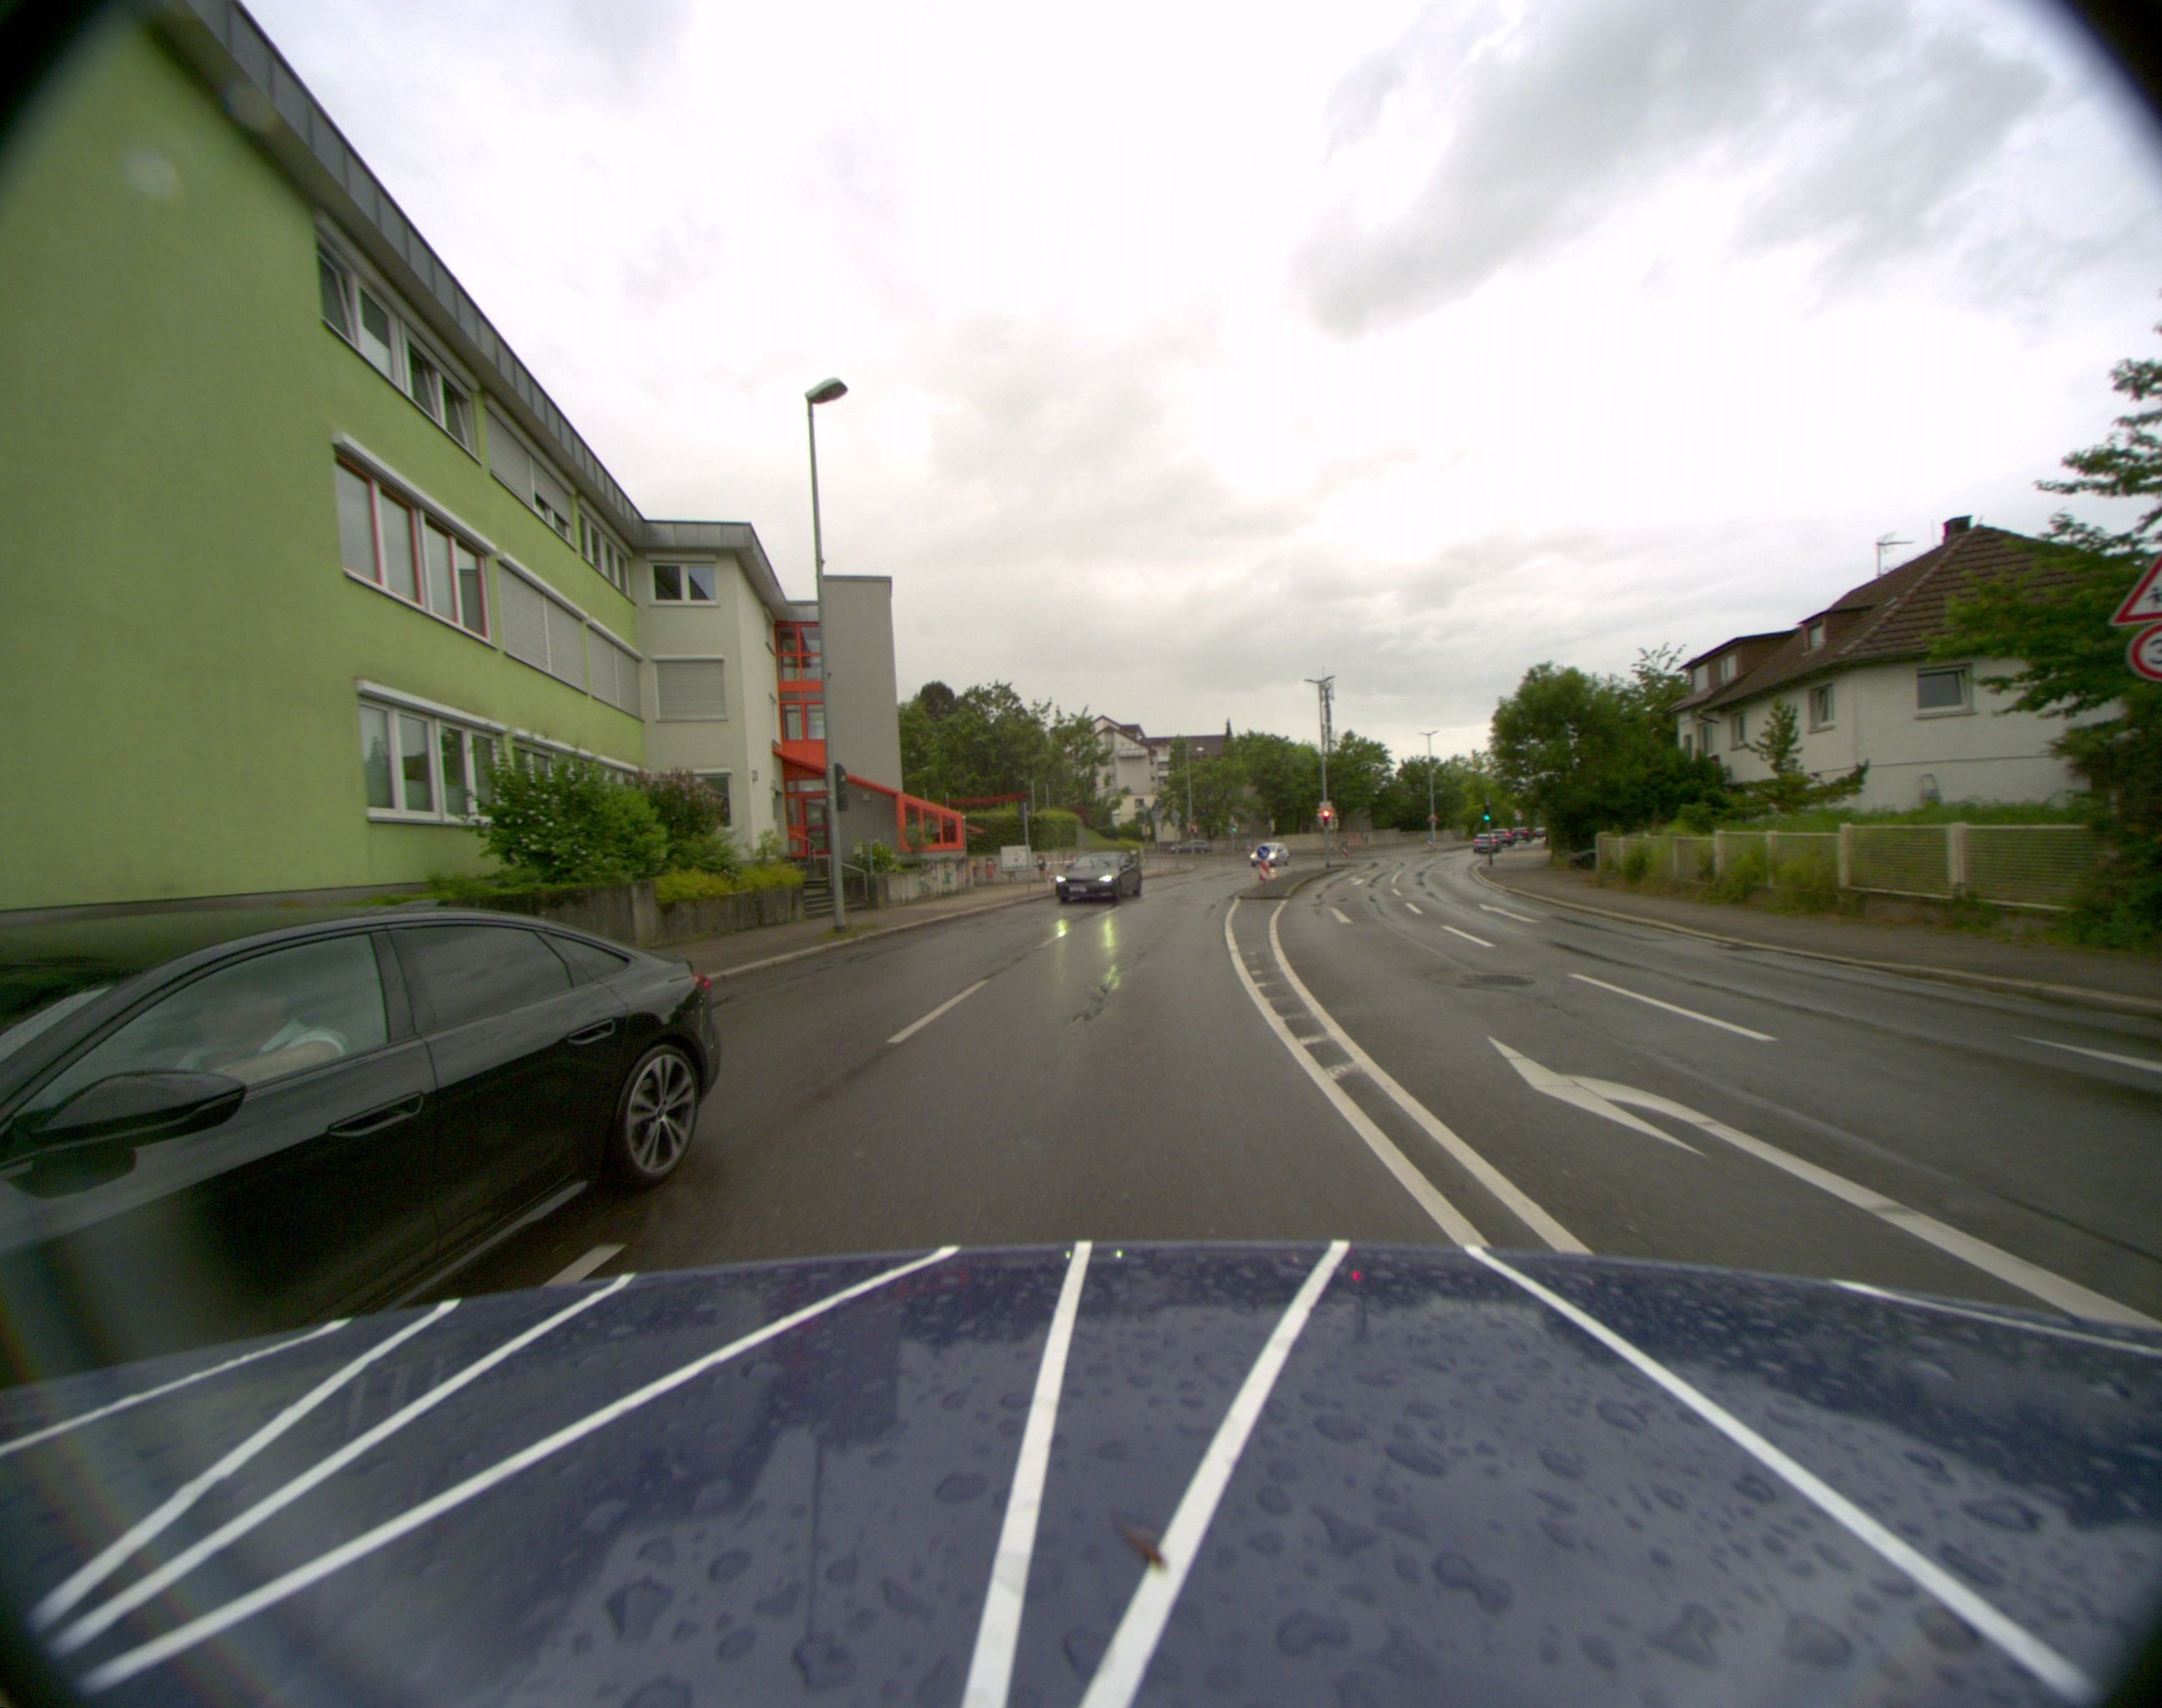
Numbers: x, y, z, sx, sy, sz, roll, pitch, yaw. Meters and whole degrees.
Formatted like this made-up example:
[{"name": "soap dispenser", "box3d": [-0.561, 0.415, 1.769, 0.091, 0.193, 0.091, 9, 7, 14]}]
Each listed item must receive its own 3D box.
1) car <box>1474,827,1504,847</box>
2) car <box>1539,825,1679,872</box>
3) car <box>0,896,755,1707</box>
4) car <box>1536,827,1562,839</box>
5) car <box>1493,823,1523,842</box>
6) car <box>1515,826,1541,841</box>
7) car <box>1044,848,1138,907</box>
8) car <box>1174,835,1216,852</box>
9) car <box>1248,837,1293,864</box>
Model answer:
[{"name": "car", "box3d": [33.875, -1.407, 63.020, 1.676, 1.442, 4.696, -1, 3, 35]}, {"name": "car", "box3d": [20.279, -0.227, 29.383, 3.992, 1.386, 1.935, -6, 0, 20]}, {"name": "car", "box3d": [-3.020, 1.079, 2.192, 1.870, 1.416, 4.738, -2, 2, 3]}, {"name": "car", "box3d": [59.643, -2.681, 96.860, 1.865, 1.468, 4.454, 2, 4, 44]}, {"name": "car", "box3d": [41.088, -2.090, 73.066, 1.883, 1.668, 4.239, 0, 3, 38]}, {"name": "car", "box3d": [49.206, -2.251, 83.646, 1.865, 1.545, 4.454, 2, 4, 39]}, {"name": "car", "box3d": [0.421, 0.661, 23.567, 1.870, 1.510, 4.003, -2, 2, 16]}, {"name": "car", "box3d": [12.232, -1.157, 82.032, 4.223, 1.647, 1.999, -2, 2, 1]}, {"name": "car", "box3d": [12.789, -0.264, 51.116, 1.995, 1.647, 4.006, -1, 2, 27]}]
